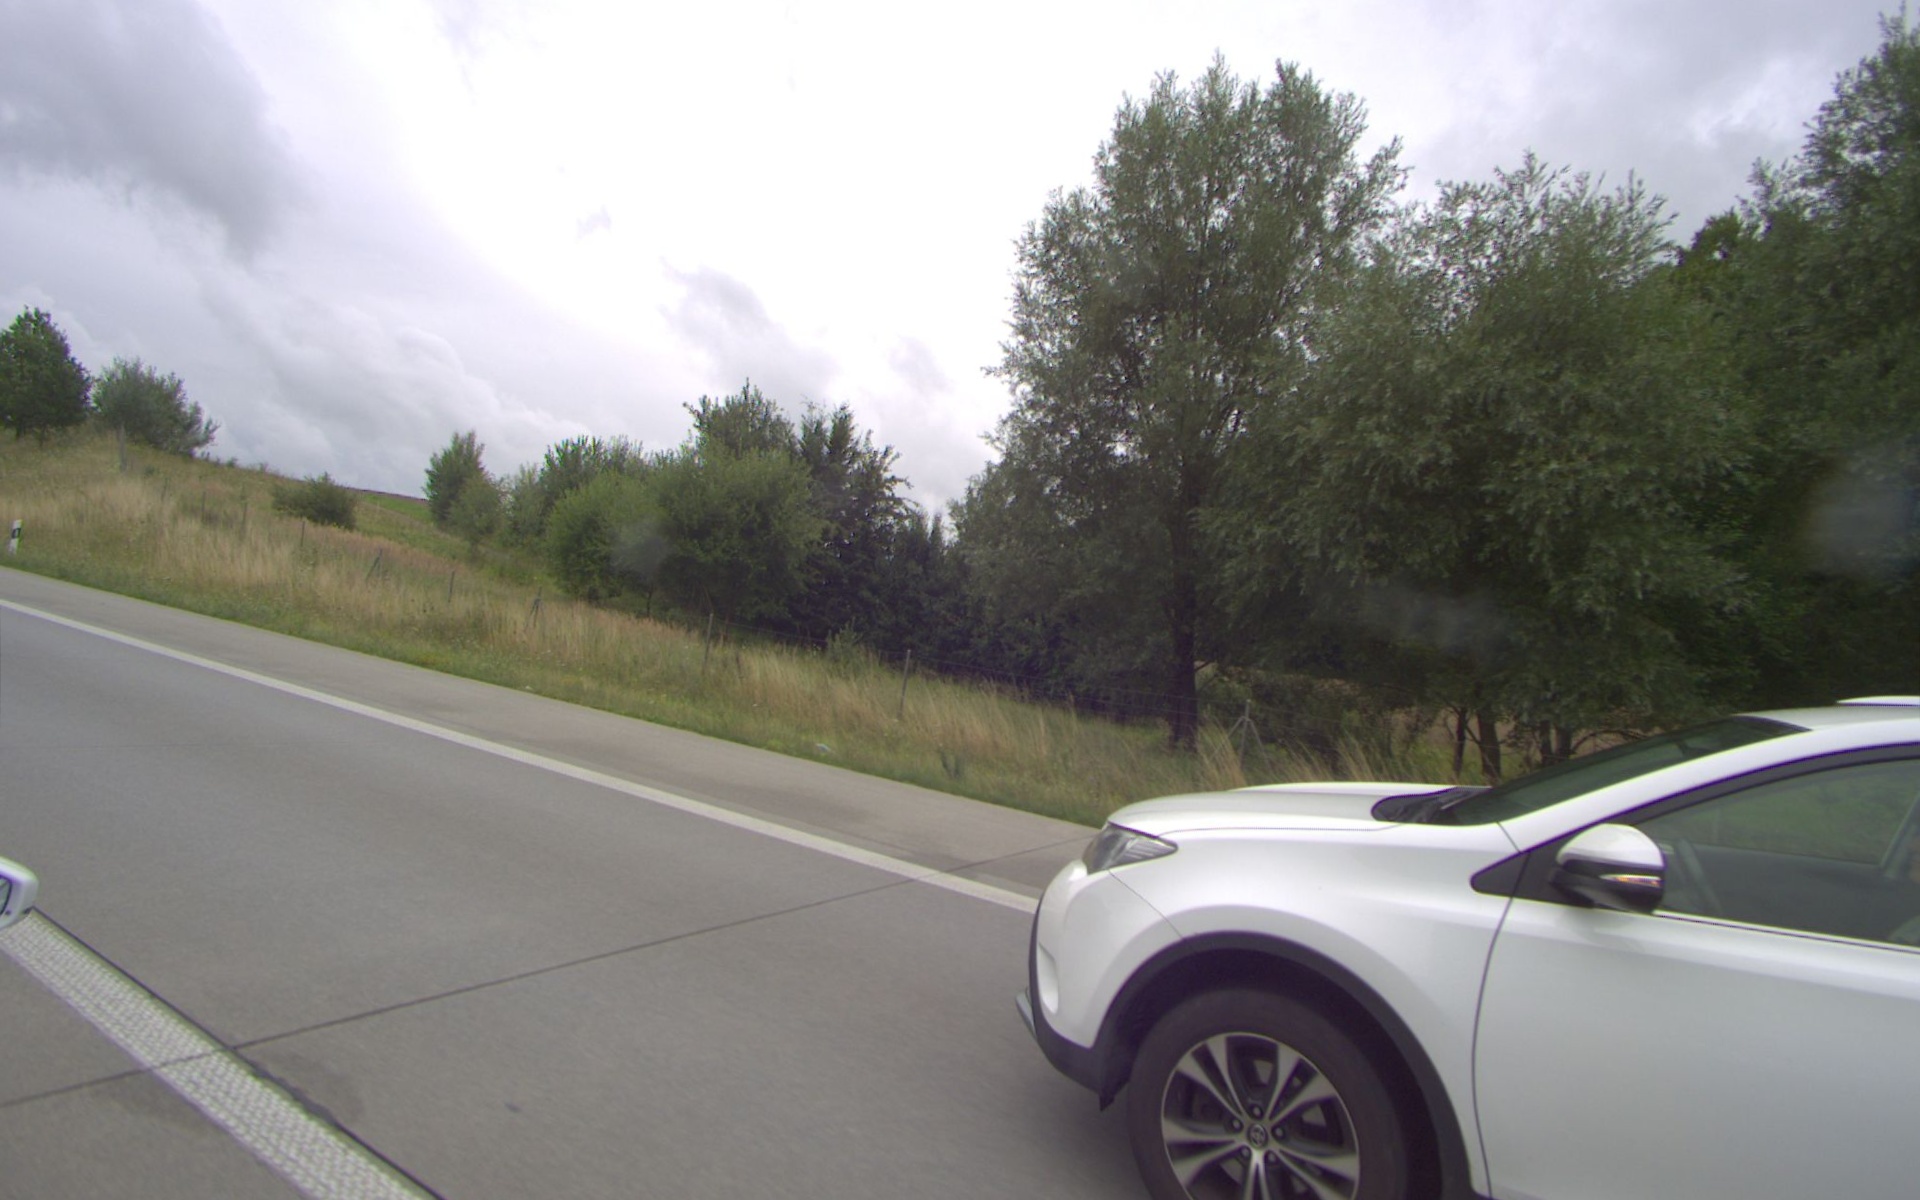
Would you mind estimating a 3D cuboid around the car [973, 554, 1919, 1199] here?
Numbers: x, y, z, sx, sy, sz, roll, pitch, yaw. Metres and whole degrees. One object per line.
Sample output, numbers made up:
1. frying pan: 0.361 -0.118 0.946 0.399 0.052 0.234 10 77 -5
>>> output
1. car: 2.264 0.989 2.588 3.918 1.674 1.830 7 -2 31
